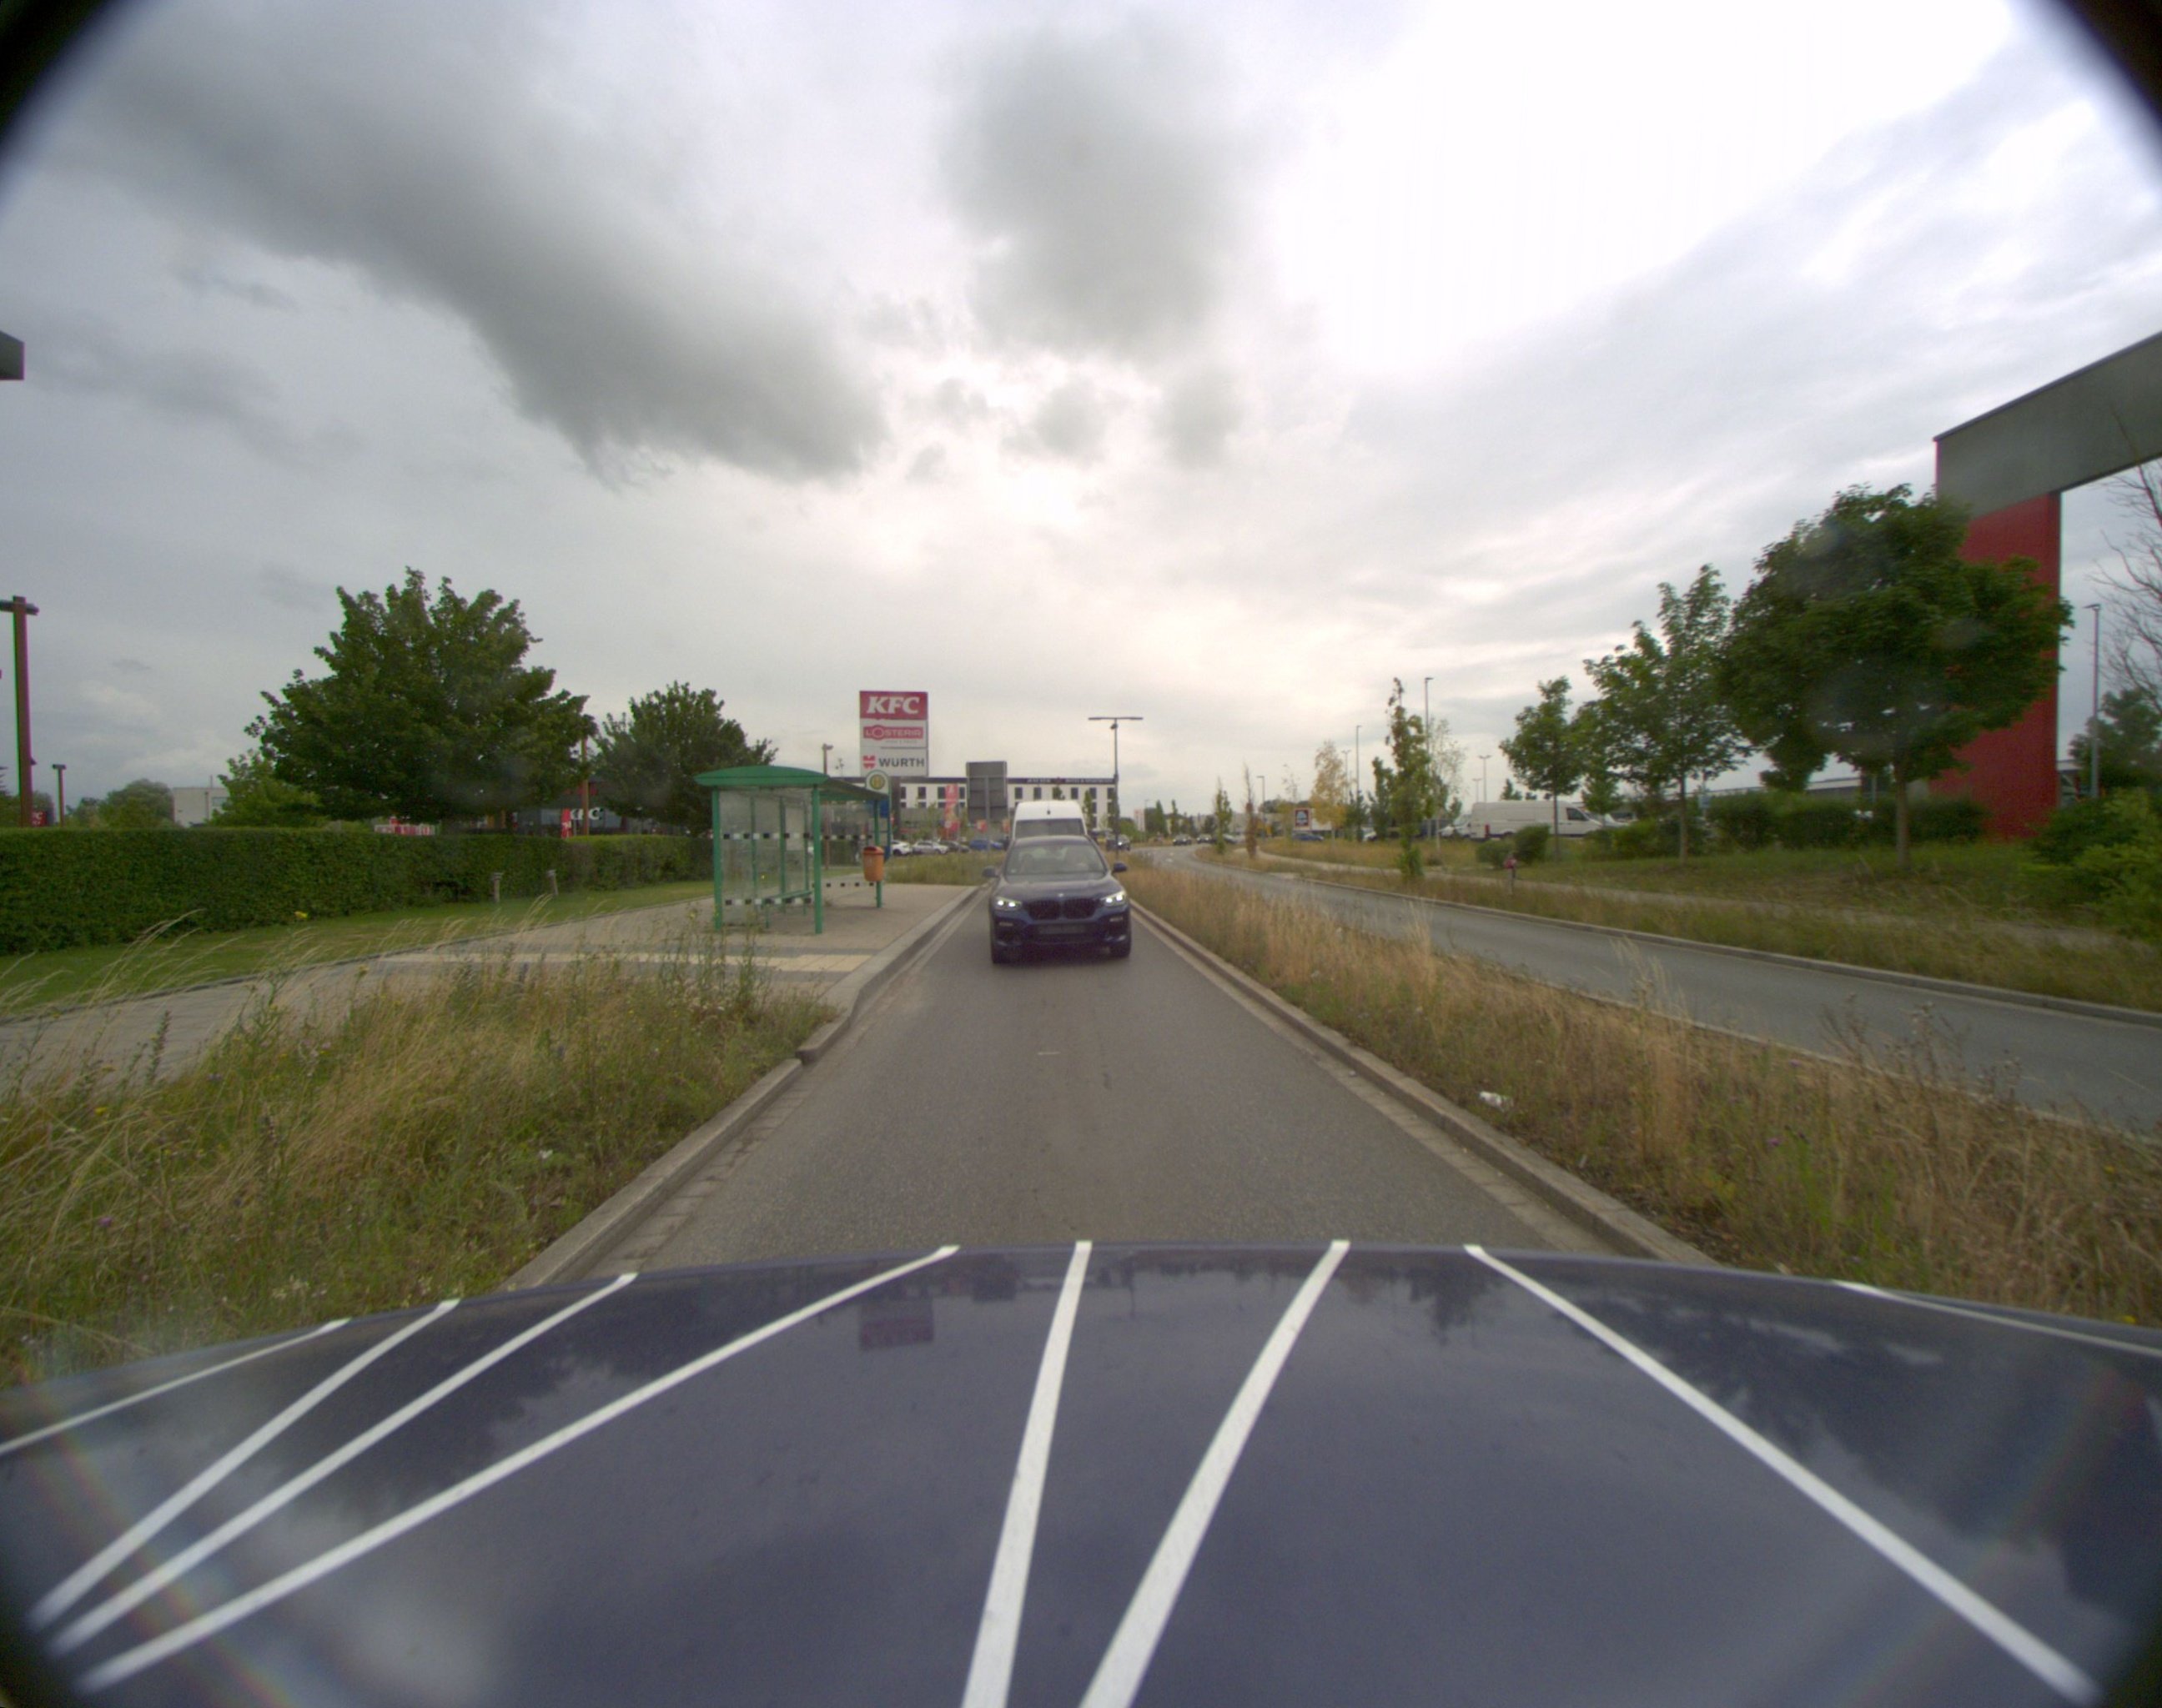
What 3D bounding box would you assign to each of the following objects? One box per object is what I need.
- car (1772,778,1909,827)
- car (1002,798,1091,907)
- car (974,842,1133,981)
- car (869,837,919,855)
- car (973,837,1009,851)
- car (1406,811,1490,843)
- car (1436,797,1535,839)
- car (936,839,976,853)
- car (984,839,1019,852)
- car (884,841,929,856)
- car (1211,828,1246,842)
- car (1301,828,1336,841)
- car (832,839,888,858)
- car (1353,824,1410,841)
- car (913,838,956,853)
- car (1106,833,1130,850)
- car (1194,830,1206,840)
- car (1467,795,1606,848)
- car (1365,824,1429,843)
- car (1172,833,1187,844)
[{"bbox_3d":[40.803,-2.711,41.022,2.064,2.360,5.052,-3,2,-7],"label":"car"},{"bbox_3d":[-0.964,-0.101,20.718,2.026,2.513,6.101,-1,1,-3],"label":"car"},{"bbox_3d":[-0.433,0.643,11.009,1.868,1.599,3.998,-1,1,-3],"label":"car"},{"bbox_3d":[-17.197,-0.746,69.956,3.995,1.514,1.847,-1,1,6],"label":"car"},{"bbox_3d":[-11.106,-1.233,93.995,3.993,1.478,1.848,-2,2,14],"label":"car"},{"bbox_3d":[26.486,-1.920,54.964,5.051,2.211,2.065,-1,2,5],"label":"car"},{"bbox_3d":[25.108,-2.250,47.271,5.054,2.360,2.063,-3,2,-2],"label":"car"},{"bbox_3d":[-13.861,-0.942,84.608,3.994,1.478,1.848,-1,2,10],"label":"car"},{"bbox_3d":[-10.056,-1.123,96.374,3.993,1.478,1.848,-2,2,14],"label":"car"},{"bbox_3d":[-17.264,-0.562,75.285,3.995,1.478,1.847,-1,1,5],"label":"car"},{"bbox_3d":[18.614,-2.448,95.920,3.992,1.565,2.002,-2,2,17],"label":"car"},{"bbox_3d":[28.685,-2.396,91.780,3.991,1.504,1.737,0,2,20],"label":"car"},{"bbox_3d":[-18.319,-0.482,63.134,3.995,1.478,1.847,-1,1,6],"label":"car"},{"bbox_3d":[30.637,-2.212,77.574,5.050,1.647,2.065,-1,1,7],"label":"car"},{"bbox_3d":[-15.378,-0.876,79.618,3.994,1.478,1.848,-1,2,10],"label":"car"},{"bbox_3d":[3.800,-1.266,77.698,1.997,1.565,4.001,-2,2,8],"label":"car"},{"bbox_3d":[20.657,-3.332,131.897,1.997,1.565,4.001,-2,2,8],"label":"car"},{"bbox_3d":[25.226,-1.791,42.238,6.414,2.610,2.064,-2,2,1],"label":"car"},{"bbox_3d":[29.159,-1.860,70.254,5.050,1.647,2.065,-1,1,7],"label":"car"},{"bbox_3d":[14.294,-2.268,110.361,1.997,1.565,4.001,-2,2,8],"label":"car"}]
